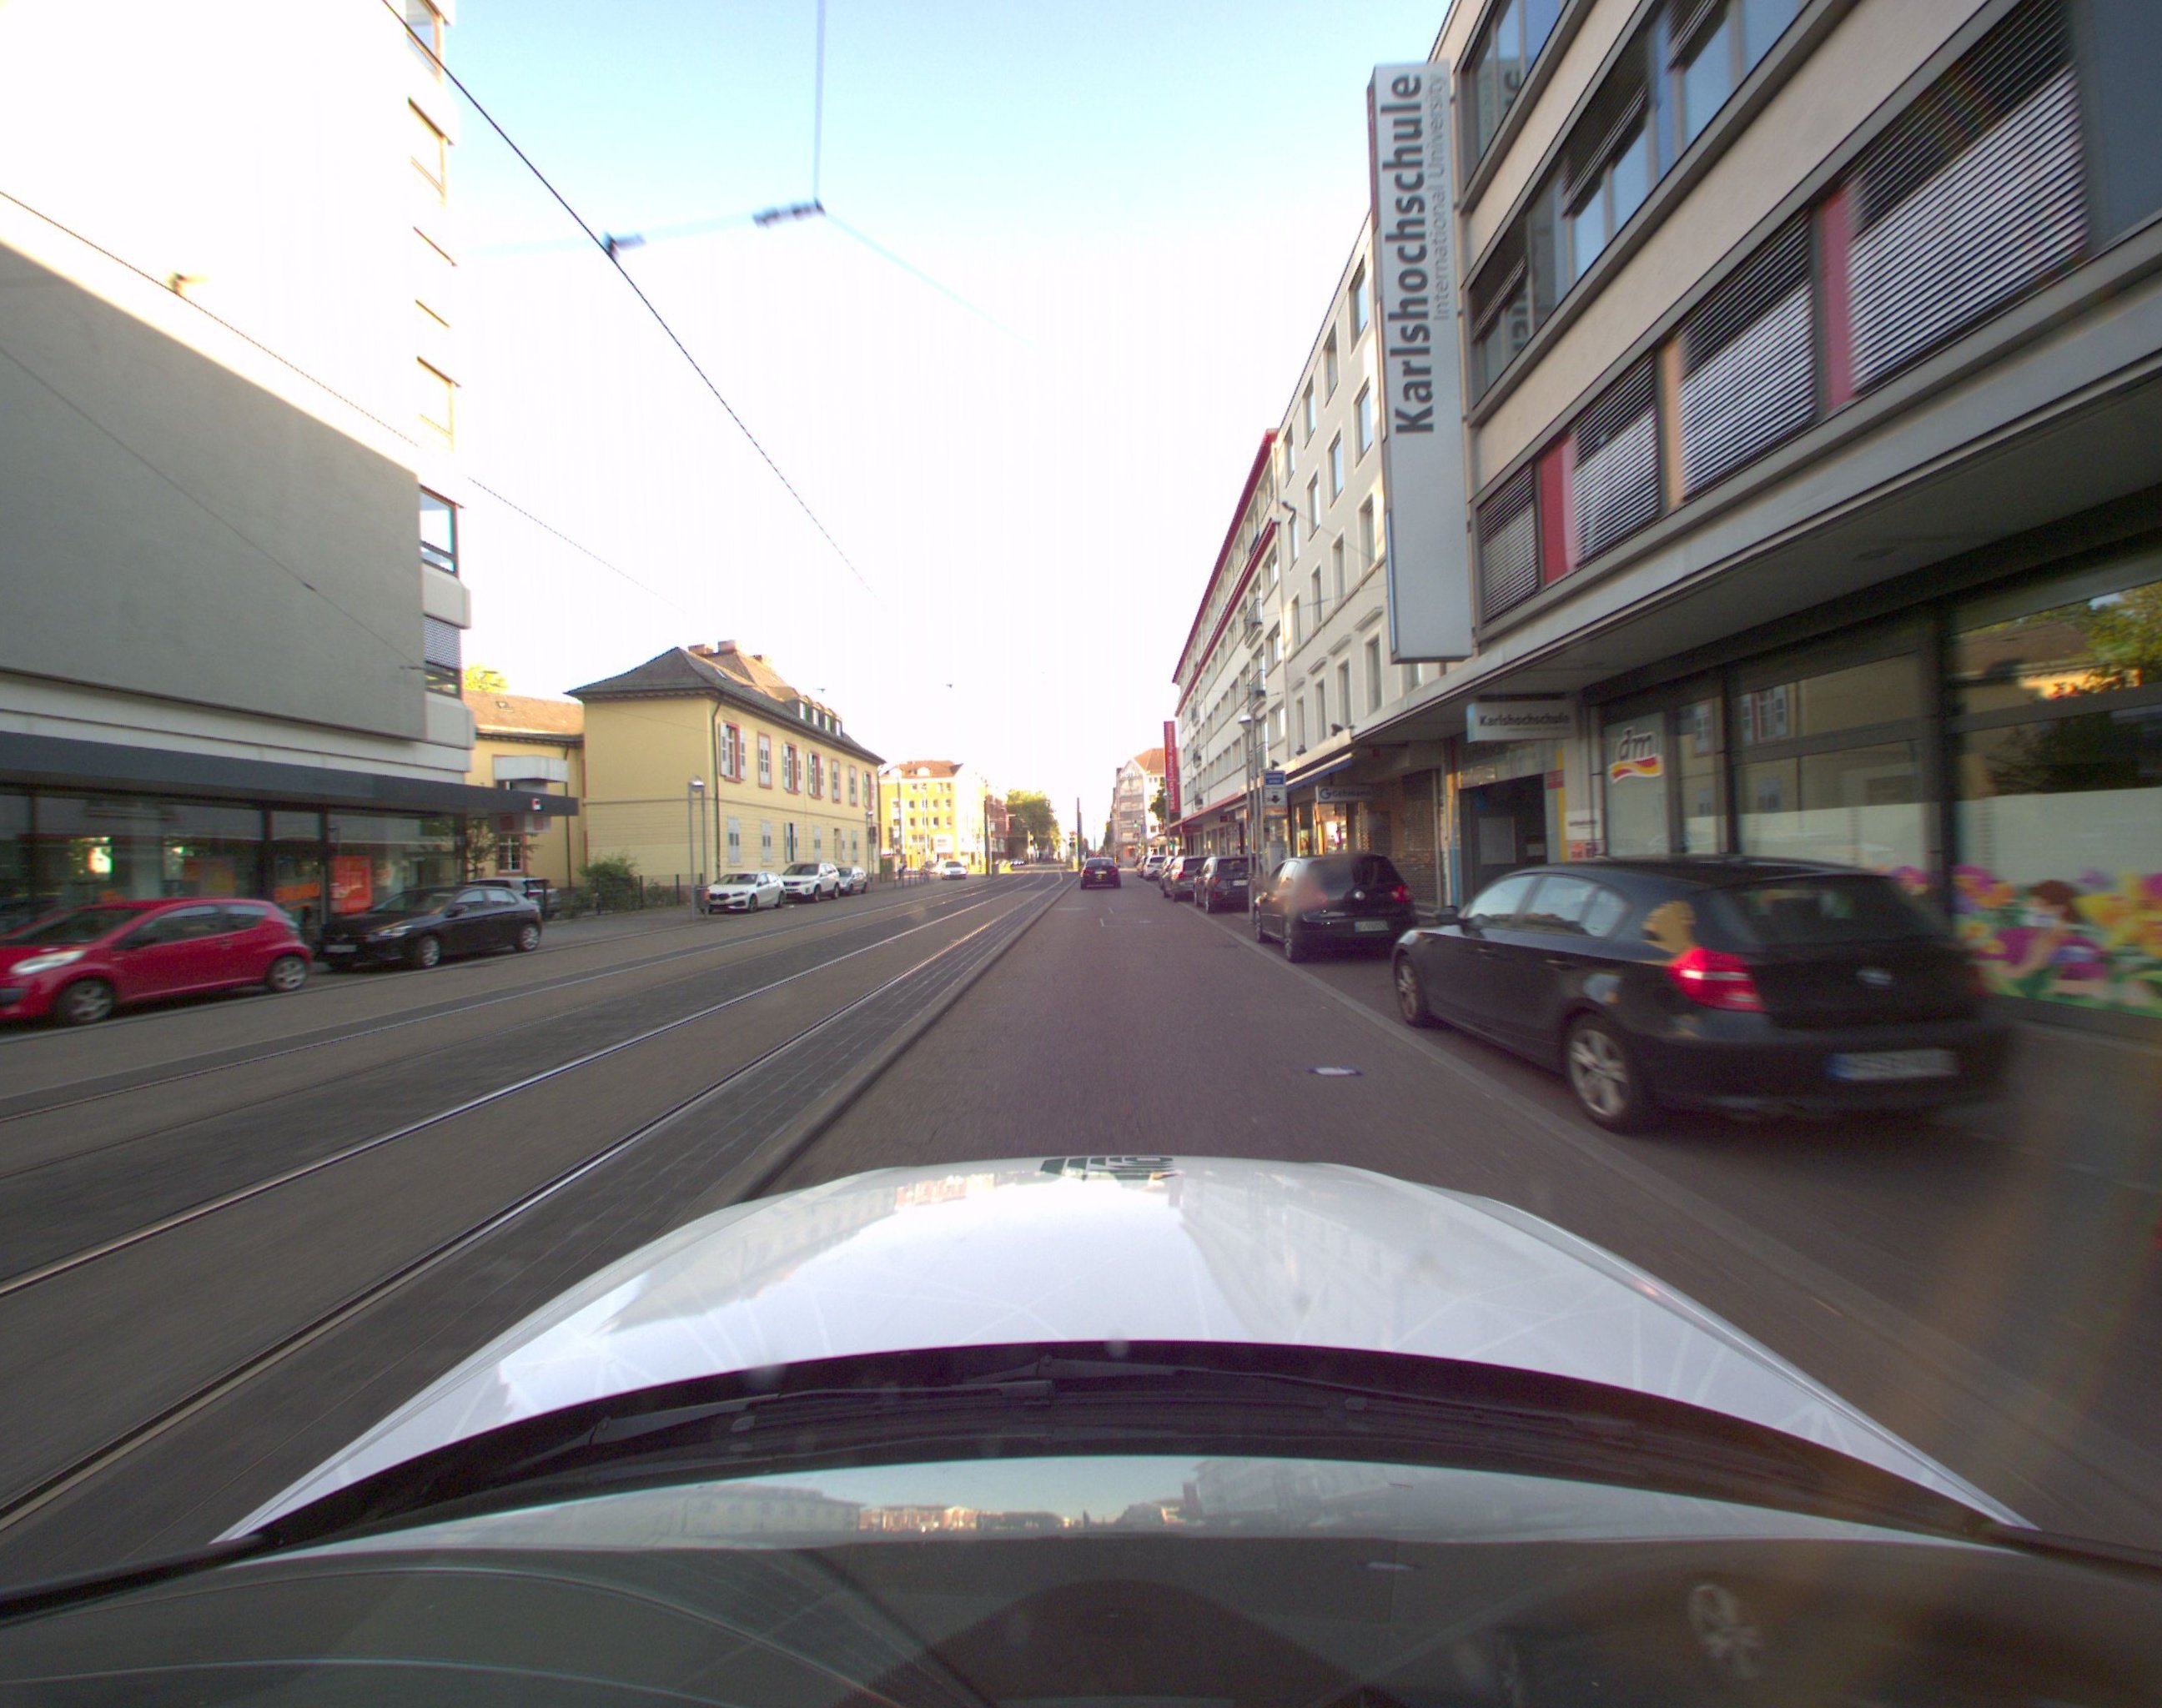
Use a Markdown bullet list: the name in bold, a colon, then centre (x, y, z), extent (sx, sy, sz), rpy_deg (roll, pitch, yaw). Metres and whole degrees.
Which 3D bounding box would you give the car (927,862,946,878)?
- **car**: centre (-14.956, 1.642, 84.298), extent (1.734, 1.512, 4.023), rpy_deg (-2, 0, -8)

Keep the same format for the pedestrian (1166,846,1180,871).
- **pedestrian**: centre (6.577, 0.344, 58.288), extent (0.824, 1.718, 0.843), rpy_deg (-3, 0, 1)

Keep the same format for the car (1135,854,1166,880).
- **car**: centre (4.539, 0.818, 53.587), extent (1.728, 1.512, 4.687), rpy_deg (-3, 0, 2)

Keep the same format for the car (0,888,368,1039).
- **car**: centre (-12.602, 1.314, 11.256), extent (1.679, 1.512, 4.216), rpy_deg (0, 0, 2)

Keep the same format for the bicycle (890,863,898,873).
- **bicycle**: centre (-26.051, 1.943, 113.481), extent (0.616, 1.325, 2.014), rpy_deg (0, 0, -3)

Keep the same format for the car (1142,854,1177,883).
- **car**: centre (4.609, 0.816, 48.290), extent (1.778, 1.512, 4.053), rpy_deg (-3, 0, 2)

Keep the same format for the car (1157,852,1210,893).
- **car**: centre (4.209, 0.726, 34.049), extent (1.728, 1.512, 4.305), rpy_deg (-3, 0, 2)

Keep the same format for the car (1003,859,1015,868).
- **car**: centre (-14.713, 1.948, 167.037), extent (1.988, 1.585, 4.585), rpy_deg (-2, 0, -1)

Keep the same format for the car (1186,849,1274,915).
- **car**: centre (3.907, 0.688, 21.936), extent (1.679, 1.512, 4.036), rpy_deg (-3, 0, 2)

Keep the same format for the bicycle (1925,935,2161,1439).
- **bicycle**: centre (3.525, 0.808, 2.159), extent (1.880, 1.138, 0.676), rpy_deg (-2, 0, -2)

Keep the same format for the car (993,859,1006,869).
- **car**: centre (-15.575, 1.910, 156.306), extent (1.988, 1.901, 4.809), rpy_deg (-2, 0, -1)

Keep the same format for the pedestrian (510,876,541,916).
- **pedestrian**: centre (-22.570, 1.702, 33.117), extent (0.743, 1.572, 0.675), rpy_deg (-2, 0, 0)

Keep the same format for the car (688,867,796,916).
- **car**: centre (-12.286, 1.318, 29.855), extent (1.805, 1.512, 4.436), rpy_deg (-2, 0, 3)

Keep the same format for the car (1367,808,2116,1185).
- **car**: centre (3.562, 0.614, 5.612), extent (1.737, 1.512, 4.259), rpy_deg (-3, 0, 2)

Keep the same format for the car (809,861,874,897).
- **car**: centre (-12.117, 1.238, 41.539), extent (1.805, 1.617, 4.218), rpy_deg (-2, 0, 3)

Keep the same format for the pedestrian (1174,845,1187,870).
- **pedestrian**: centre (7.015, 0.245, 57.293), extent (0.726, 1.741, 0.863), rpy_deg (-3, 0, 2)

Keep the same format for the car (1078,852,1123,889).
- **car**: centre (0.932, 0.754, 39.017), extent (1.986, 1.585, 4.001), rpy_deg (-2, 0, 1)

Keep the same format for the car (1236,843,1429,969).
- **car**: centre (3.616, 0.666, 12.514), extent (1.714, 1.512, 4.169), rpy_deg (-3, 0, 2)

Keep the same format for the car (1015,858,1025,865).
- **car**: centre (-14.483, 1.716, 194.438), extent (1.988, 1.585, 4.477), rpy_deg (-2, 0, -1)

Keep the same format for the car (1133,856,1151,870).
- **car**: centre (7.680, 1.112, 102.943), extent (1.986, 1.552, 4.001), rpy_deg (-2, 0, 2)

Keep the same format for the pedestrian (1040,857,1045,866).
- **pedestrian**: centre (-8.868, 1.735, 187.906), extent (0.985, 2.014, 0.726), rpy_deg (0, -1, 0)

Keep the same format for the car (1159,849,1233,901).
- **car**: centre (3.805, 0.667, 27.624), extent (1.784, 1.512, 4.711), rpy_deg (-3, 0, 0)

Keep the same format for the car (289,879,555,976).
- **car**: centre (-12.564, 1.312, 15.947), extent (1.679, 1.512, 4.216), rpy_deg (-1, 0, 2)

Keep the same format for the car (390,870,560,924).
- **car**: centre (-18.947, 1.327, 25.576), extent (3.970, 1.467, 1.848), rpy_deg (-2, 0, 3)

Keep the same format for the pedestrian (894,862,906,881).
- **pedestrian**: centre (-14.734, 1.417, 66.285), extent (0.729, 1.584, 0.954), rpy_deg (-2, 0, -3)

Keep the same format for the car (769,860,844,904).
- **car**: centre (-11.982, 1.184, 35.831), extent (1.807, 1.786, 4.495), rpy_deg (1, 0, -1)

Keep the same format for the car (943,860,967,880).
- **car**: centre (-10.207, 1.296, 65.986), extent (1.806, 1.512, 4.021), rpy_deg (-2, 0, -10)
